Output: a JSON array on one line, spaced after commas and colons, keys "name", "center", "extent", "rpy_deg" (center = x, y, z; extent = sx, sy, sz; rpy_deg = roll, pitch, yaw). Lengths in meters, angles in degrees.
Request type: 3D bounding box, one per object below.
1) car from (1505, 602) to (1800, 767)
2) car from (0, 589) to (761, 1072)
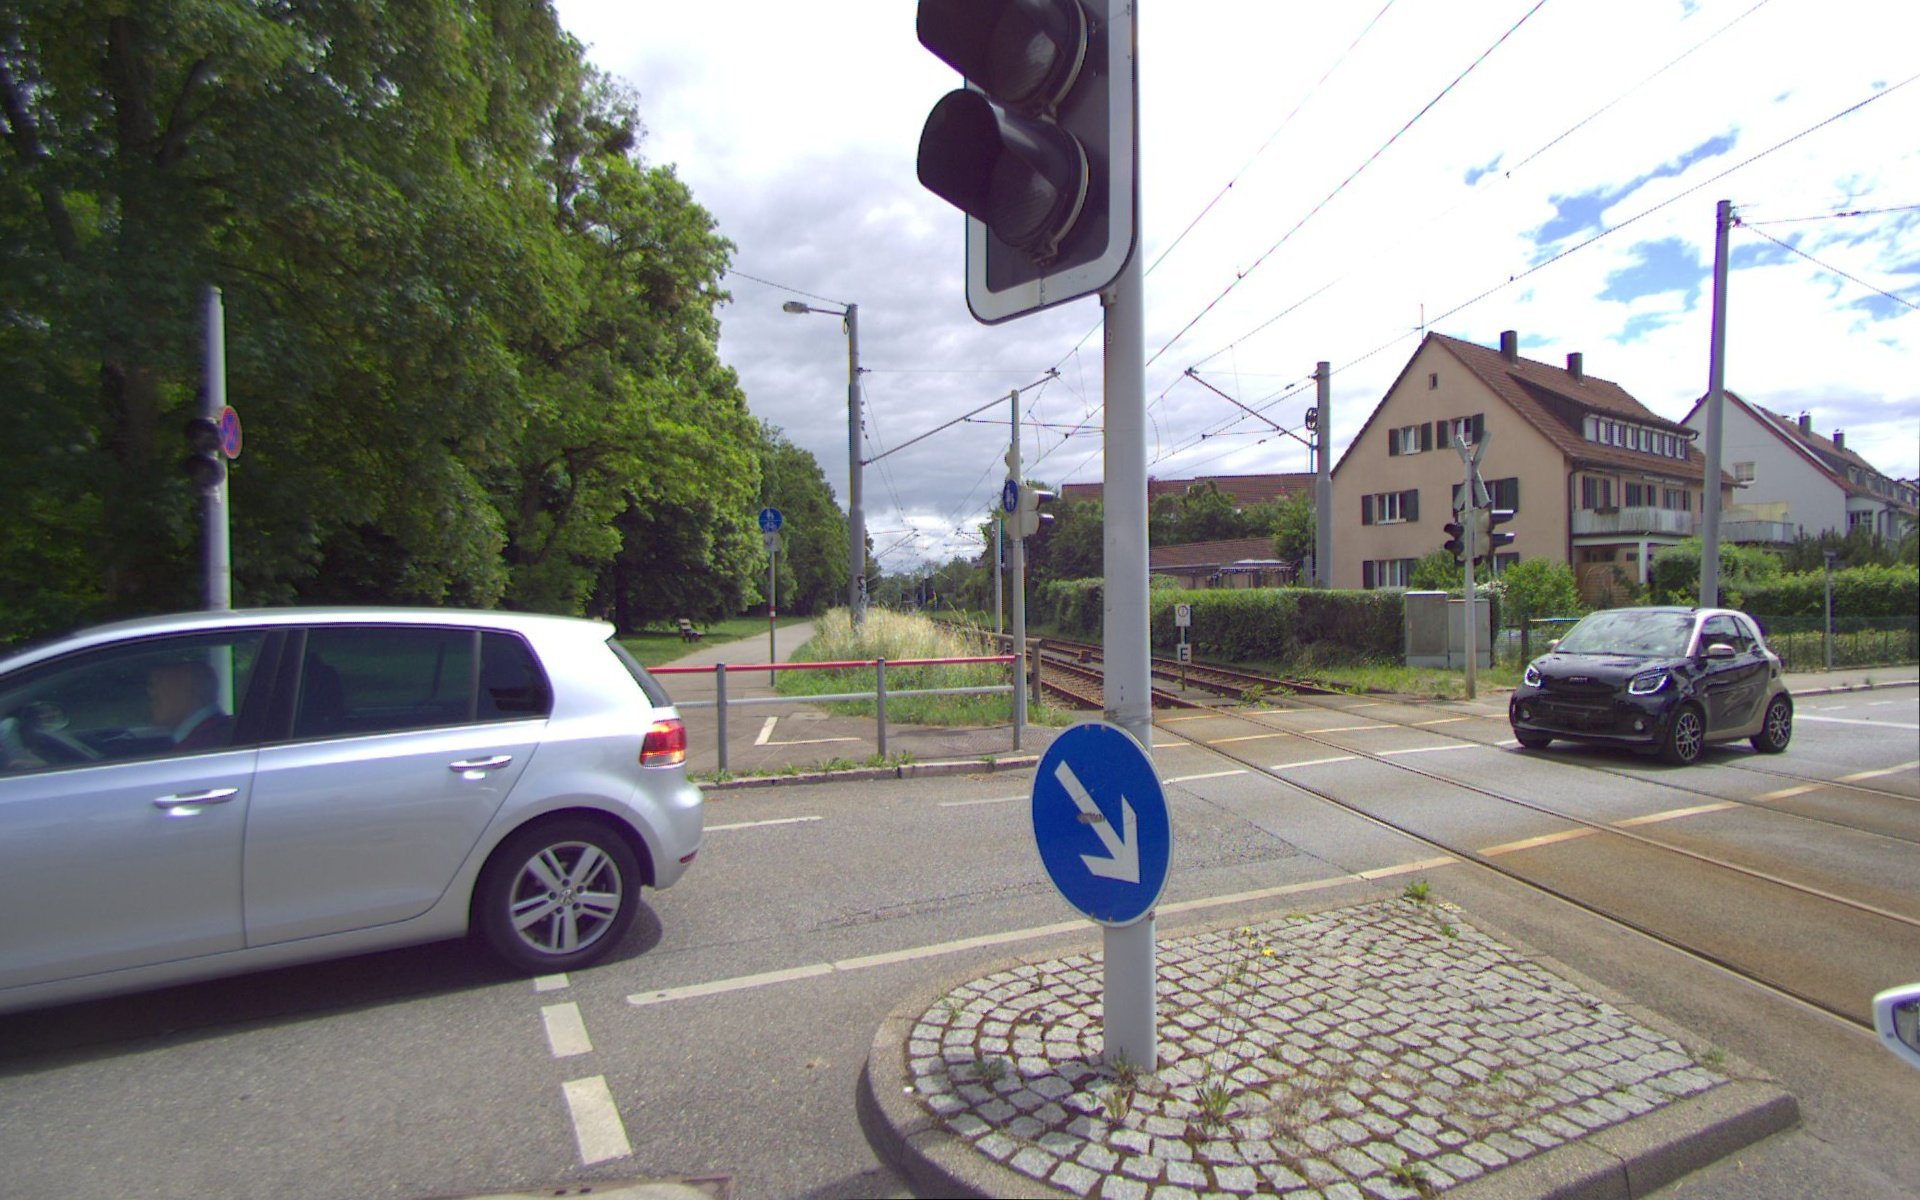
[{"name": "car", "center": [7.441, 0.804, 10.795], "extent": [2.754, 1.530, 1.568], "rpy_deg": [0, 0, -29]}, {"name": "car", "center": [-3.012, 0.718, 4.028], "extent": [4.025, 1.477, 1.678], "rpy_deg": [1, -1, -33]}]
